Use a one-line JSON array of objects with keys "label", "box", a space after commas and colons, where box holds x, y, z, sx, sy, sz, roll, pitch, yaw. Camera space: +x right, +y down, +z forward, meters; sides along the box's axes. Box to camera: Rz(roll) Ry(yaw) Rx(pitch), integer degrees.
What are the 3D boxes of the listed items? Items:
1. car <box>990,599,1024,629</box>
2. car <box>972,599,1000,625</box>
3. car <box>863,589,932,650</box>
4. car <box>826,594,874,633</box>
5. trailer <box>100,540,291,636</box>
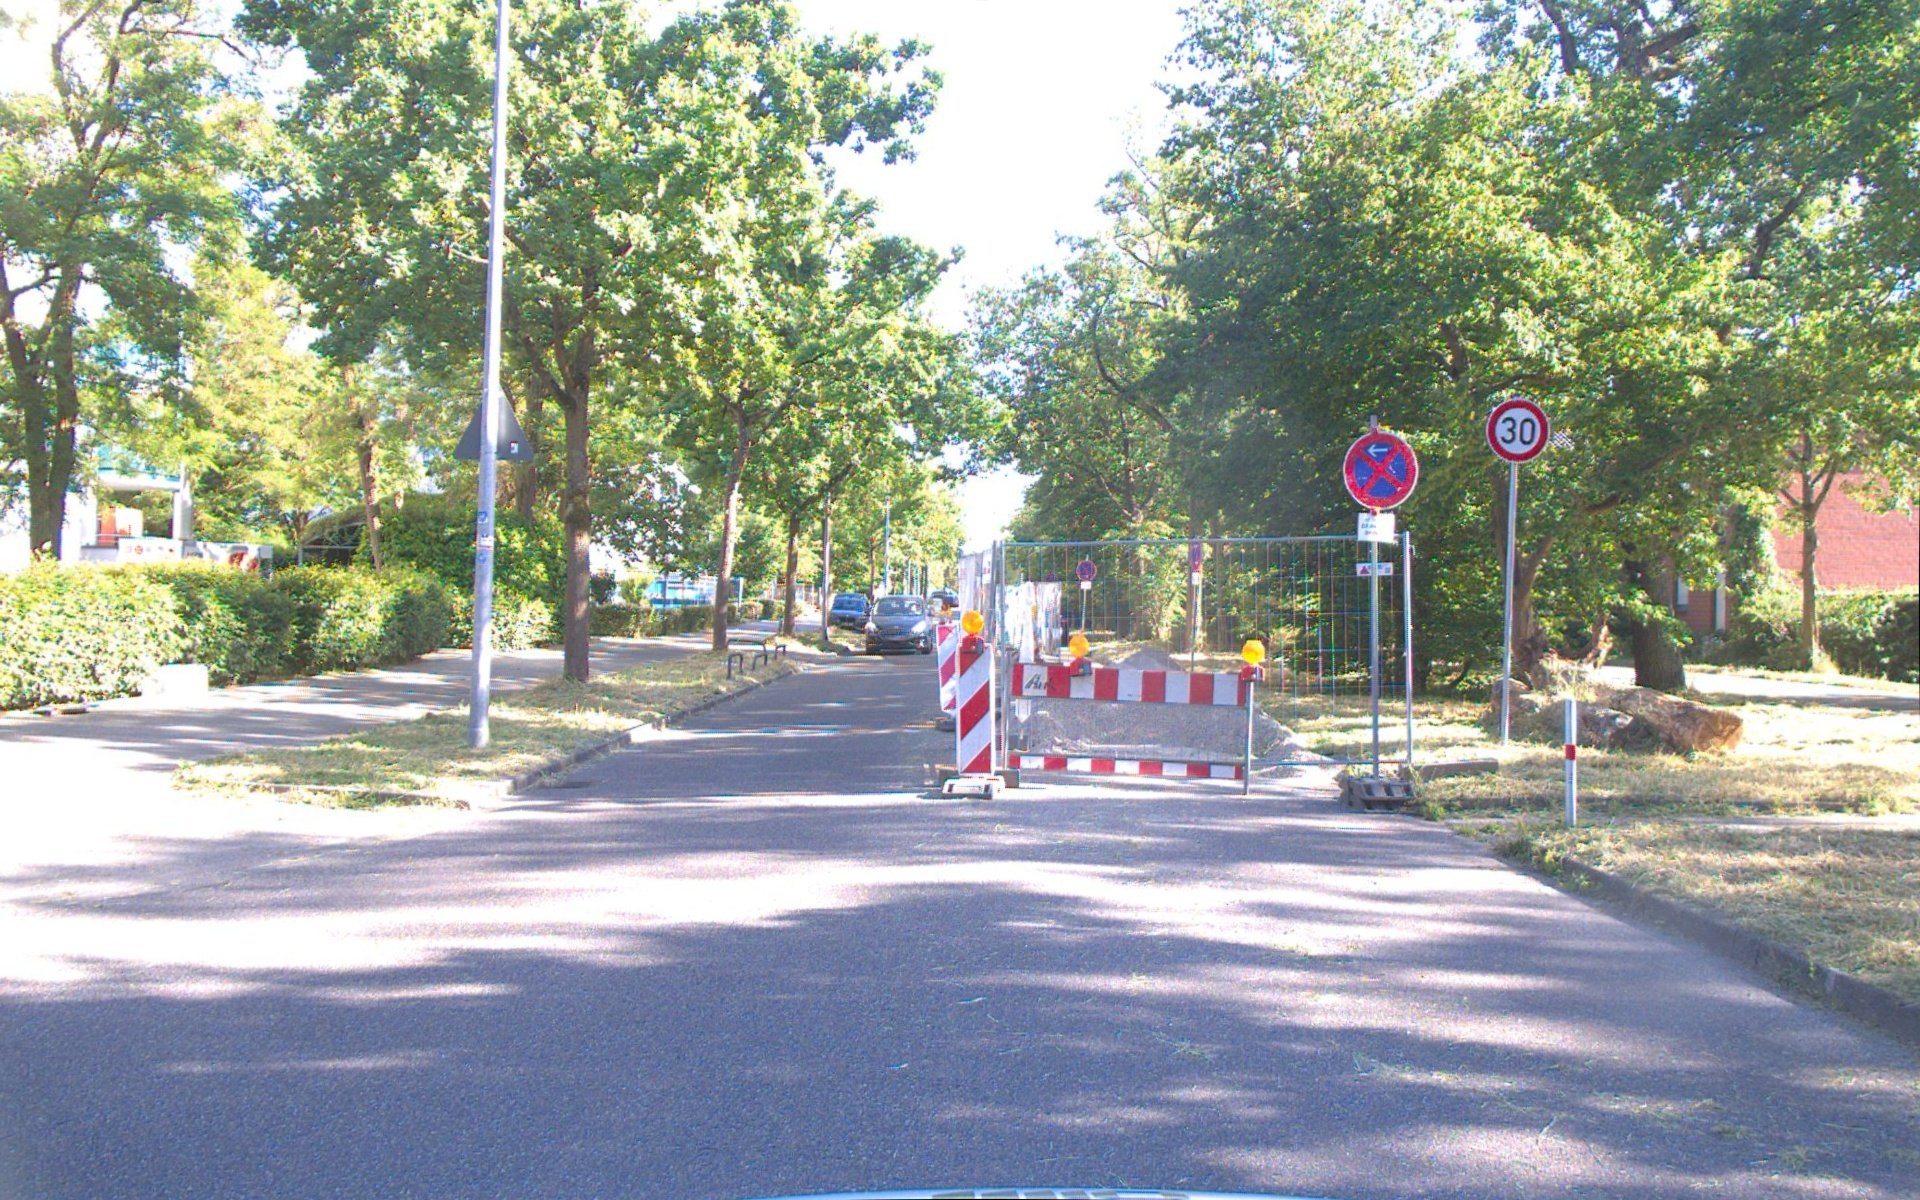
[{"label": "car", "box": [2.174, 0.683, 77.629, 1.334, 1.325, 3.480, 2, -1, -2]}, {"label": "car", "box": [1.403, 0.678, 90.598, 1.334, 1.325, 3.480, 2, -1, -2]}, {"label": "car", "box": [-1.757, 0.529, 47.953, 1.784, 1.653, 4.492, -1, 0, 0]}, {"label": "car", "box": [-4.489, 0.548, 67.910, 1.715, 1.504, 3.836, 1, 0, -1]}, {"label": "trailer", "box": [-17.721, -0.263, 38.600, 1.934, 2.078, 4.433, 1, 0, 7]}]
